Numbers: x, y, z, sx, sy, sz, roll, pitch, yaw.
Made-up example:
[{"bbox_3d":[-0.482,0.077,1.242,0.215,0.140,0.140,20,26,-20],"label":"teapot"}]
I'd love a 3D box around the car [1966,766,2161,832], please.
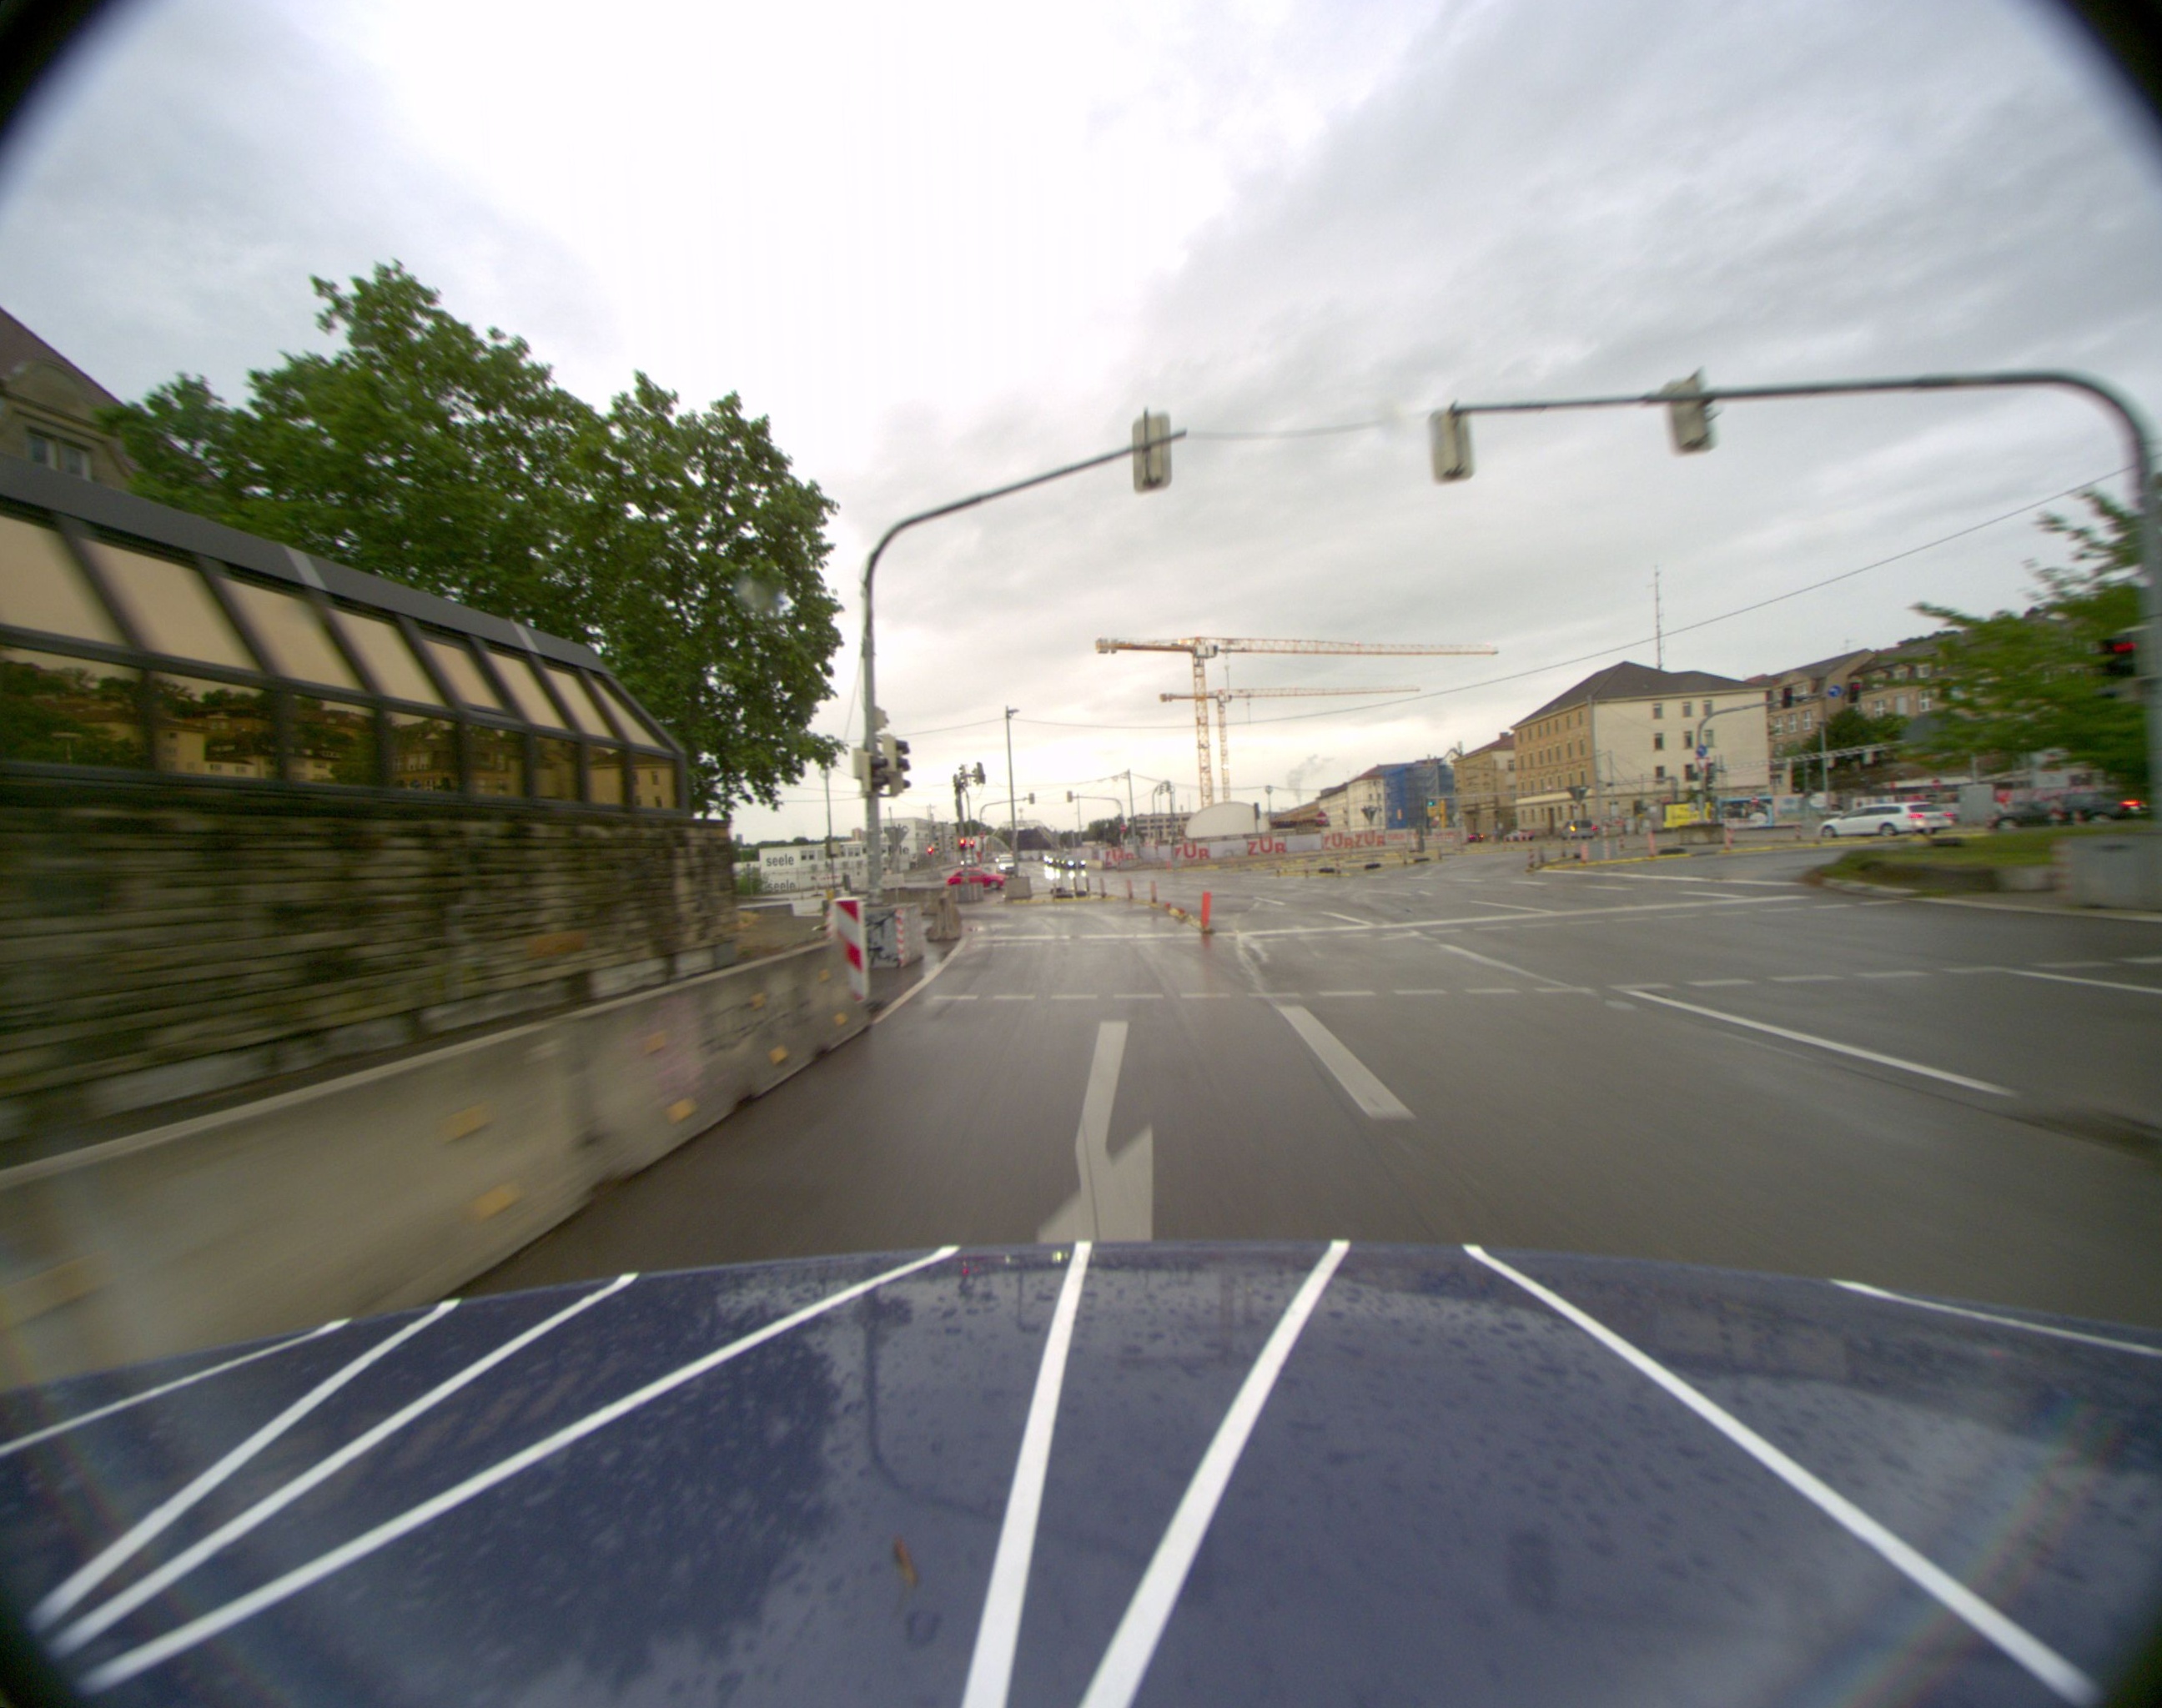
[{"bbox_3d":[34.791,-1.857,26.714,1.998,2.002,4.690,-5,1,5],"label":"car"}]

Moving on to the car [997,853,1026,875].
[{"bbox_3d":[-7.097,1.042,76.877,2.001,2.002,4.418,-5,0,-16],"label":"car"}]

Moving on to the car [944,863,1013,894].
[{"bbox_3d":[-6.489,1.536,48.295,3.996,1.543,1.691,-5,1,3],"label":"car"}]

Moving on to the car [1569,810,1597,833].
[{"bbox_3d":[47.028,-3.064,71.275,1.995,1.828,4.690,-4,2,32],"label":"car"}]

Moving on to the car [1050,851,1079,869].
[{"bbox_3d":[-1.848,0.657,83.523,2.001,1.707,4.418,-5,0,-16],"label":"car"}]

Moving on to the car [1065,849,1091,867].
[{"bbox_3d":[-0.330,0.421,77.724,1.861,1.557,3.798,-6,1,-11],"label":"car"}]

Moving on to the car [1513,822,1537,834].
[{"bbox_3d":[56.028,-3.295,95.951,1.580,1.340,3.809,-5,2,16],"label":"car"}]

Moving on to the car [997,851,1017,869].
[{"bbox_3d":[-8.247,0.666,85.184,1.999,1.761,4.355,-6,1,-5],"label":"car"}]

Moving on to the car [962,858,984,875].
[{"bbox_3d":[-13.189,1.477,93.076,1.999,1.761,4.356,-5,1,-1],"label":"car"}]

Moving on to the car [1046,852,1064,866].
[{"bbox_3d":[-3.371,0.611,97.648,1.999,1.548,4.523,-5,0,-4],"label":"car"}]

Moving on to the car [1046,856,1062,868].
[{"bbox_3d":[-3.259,0.928,90.831,1.650,1.171,4.287,-4,1,-3],"label":"car"}]

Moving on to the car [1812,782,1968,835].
[{"bbox_3d":[35.249,-1.922,33.334,1.998,2.002,4.642,-5,1,5],"label":"car"}]
